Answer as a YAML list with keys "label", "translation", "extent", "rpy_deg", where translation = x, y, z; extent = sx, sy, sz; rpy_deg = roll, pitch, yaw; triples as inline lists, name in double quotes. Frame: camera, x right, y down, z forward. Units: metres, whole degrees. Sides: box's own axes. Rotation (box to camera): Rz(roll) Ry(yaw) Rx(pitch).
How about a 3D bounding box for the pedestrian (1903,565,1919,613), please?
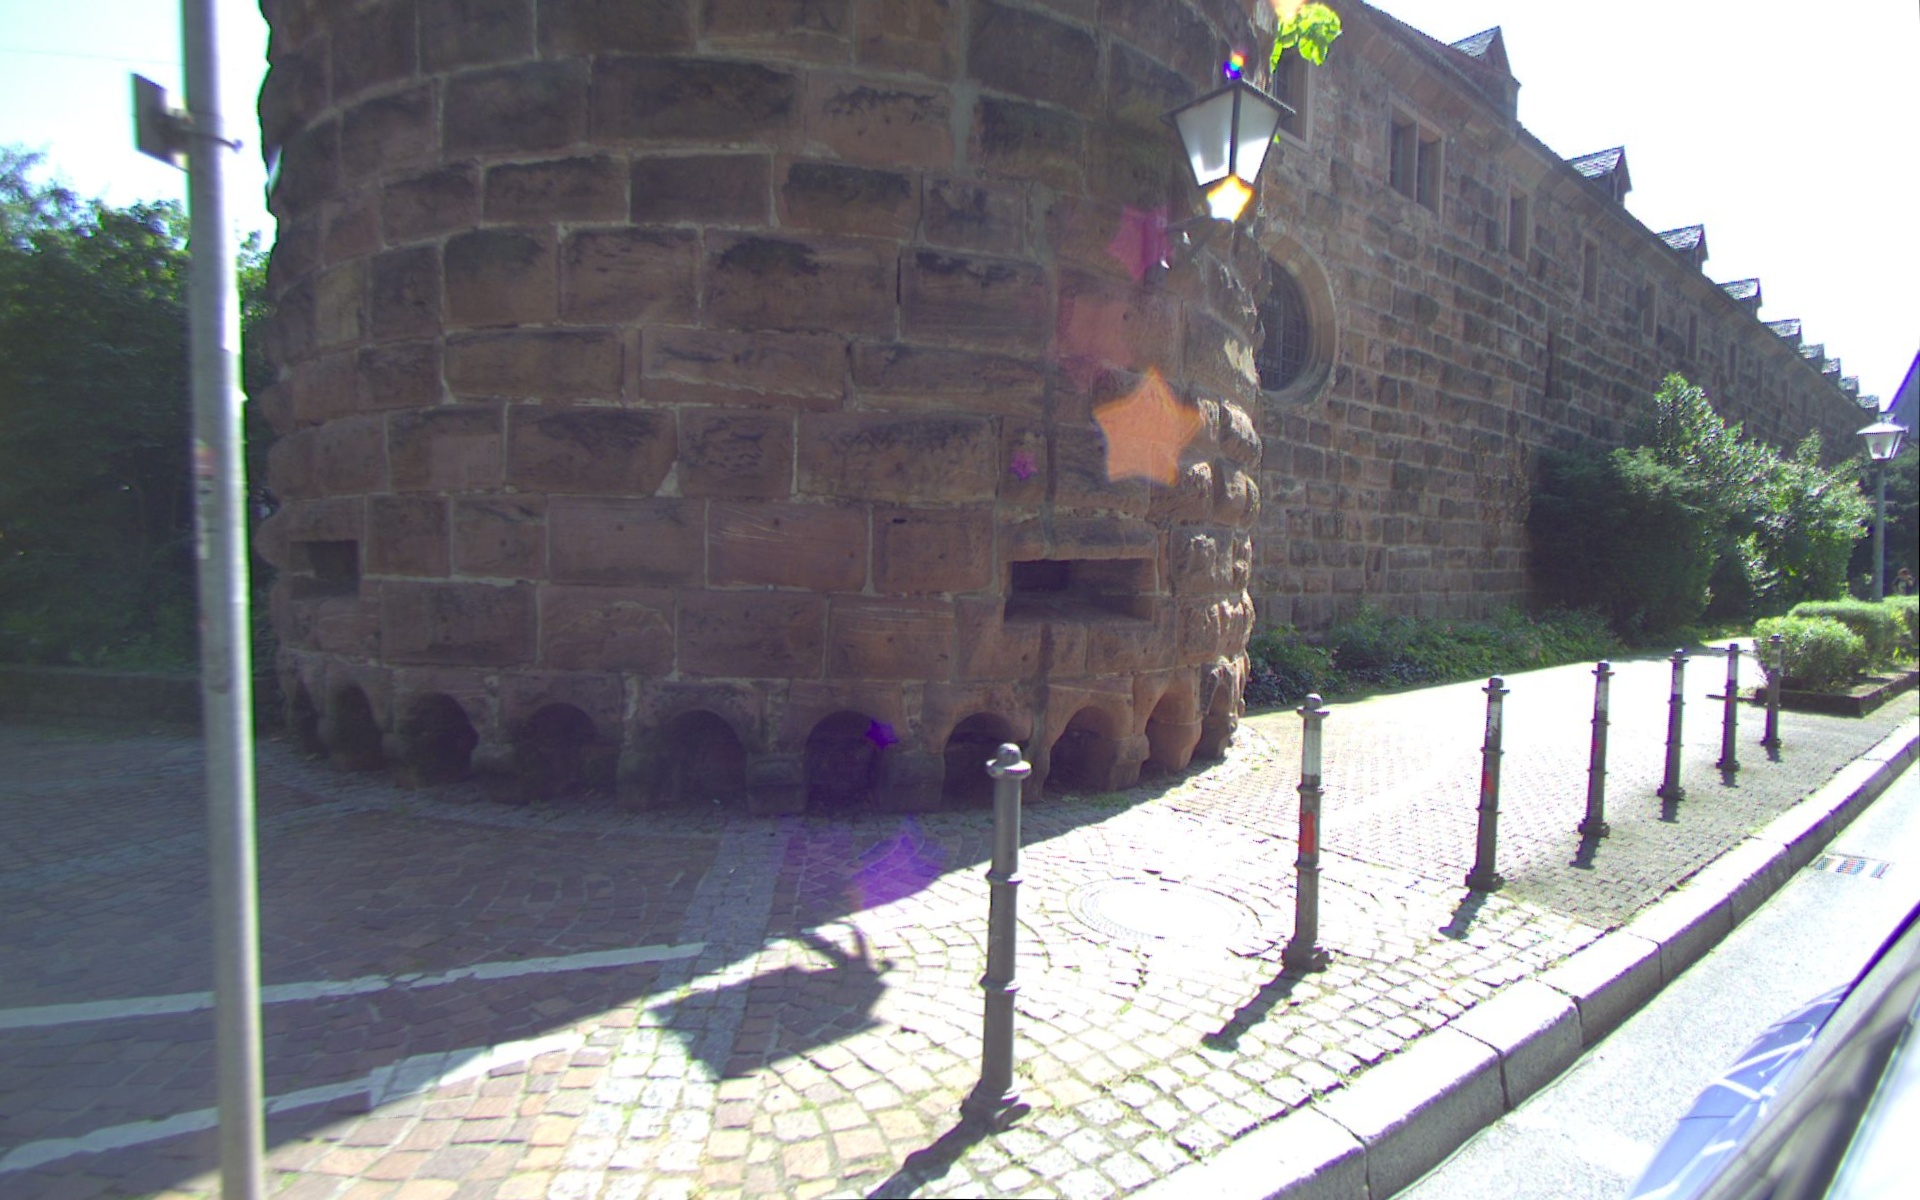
- label: "pedestrian"
  translation: [32.021, -0.379, 33.842]
  extent: [0.554, 1.583, 0.642]
  rpy_deg: [-1, 1, -40]

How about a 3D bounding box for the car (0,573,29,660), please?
- label: "car"
  translation: [-22.338, 0.388, 21.204]
  extent: [3.925, 1.843, 1.734]
  rpy_deg: [-2, 1, -35]
